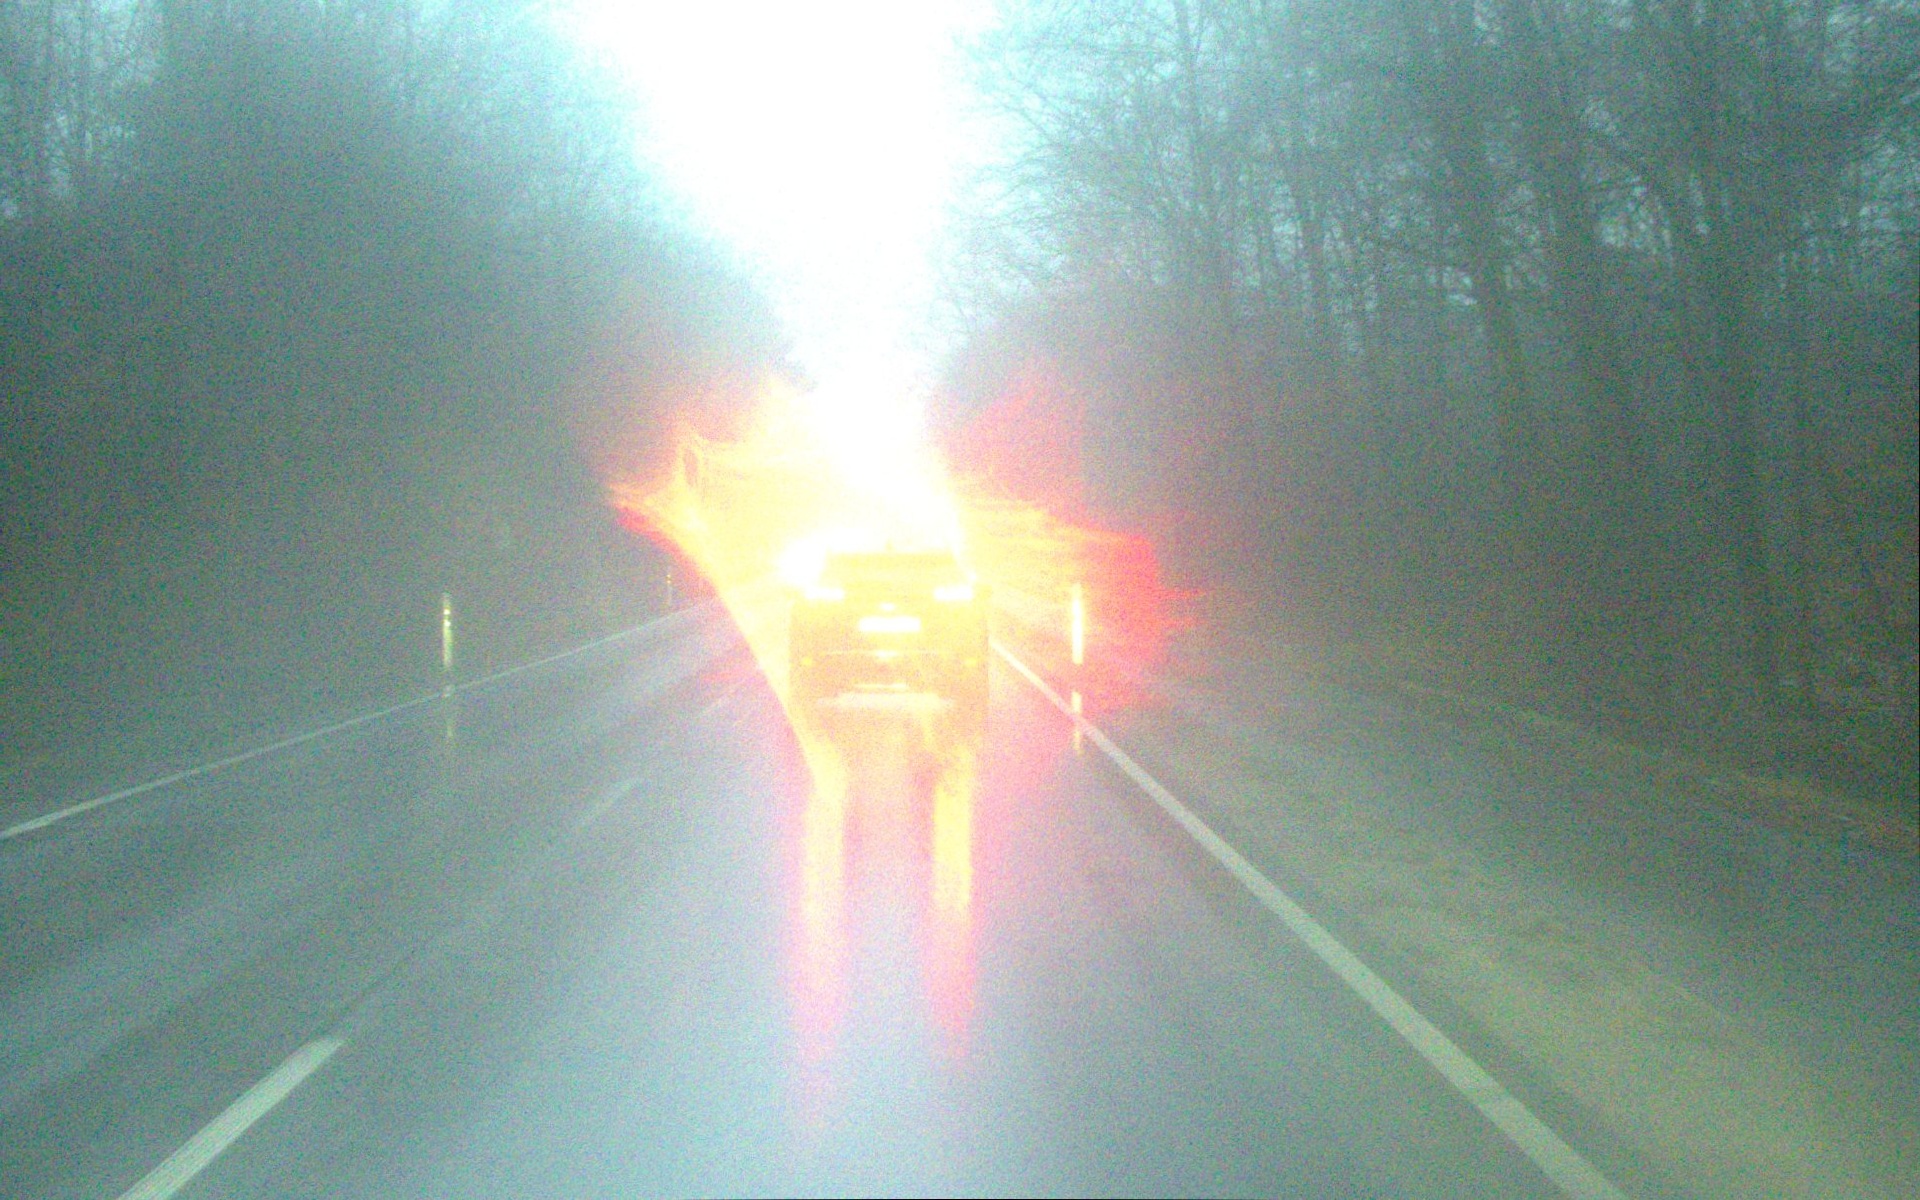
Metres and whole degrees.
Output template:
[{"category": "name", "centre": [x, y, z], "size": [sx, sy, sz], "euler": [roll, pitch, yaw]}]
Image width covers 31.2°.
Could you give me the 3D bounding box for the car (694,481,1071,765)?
[{"category": "car", "centre": [-0.689, 0.157, 32.674], "size": [3.183, 2.378, 6.636], "euler": [1, 1, 0]}]
